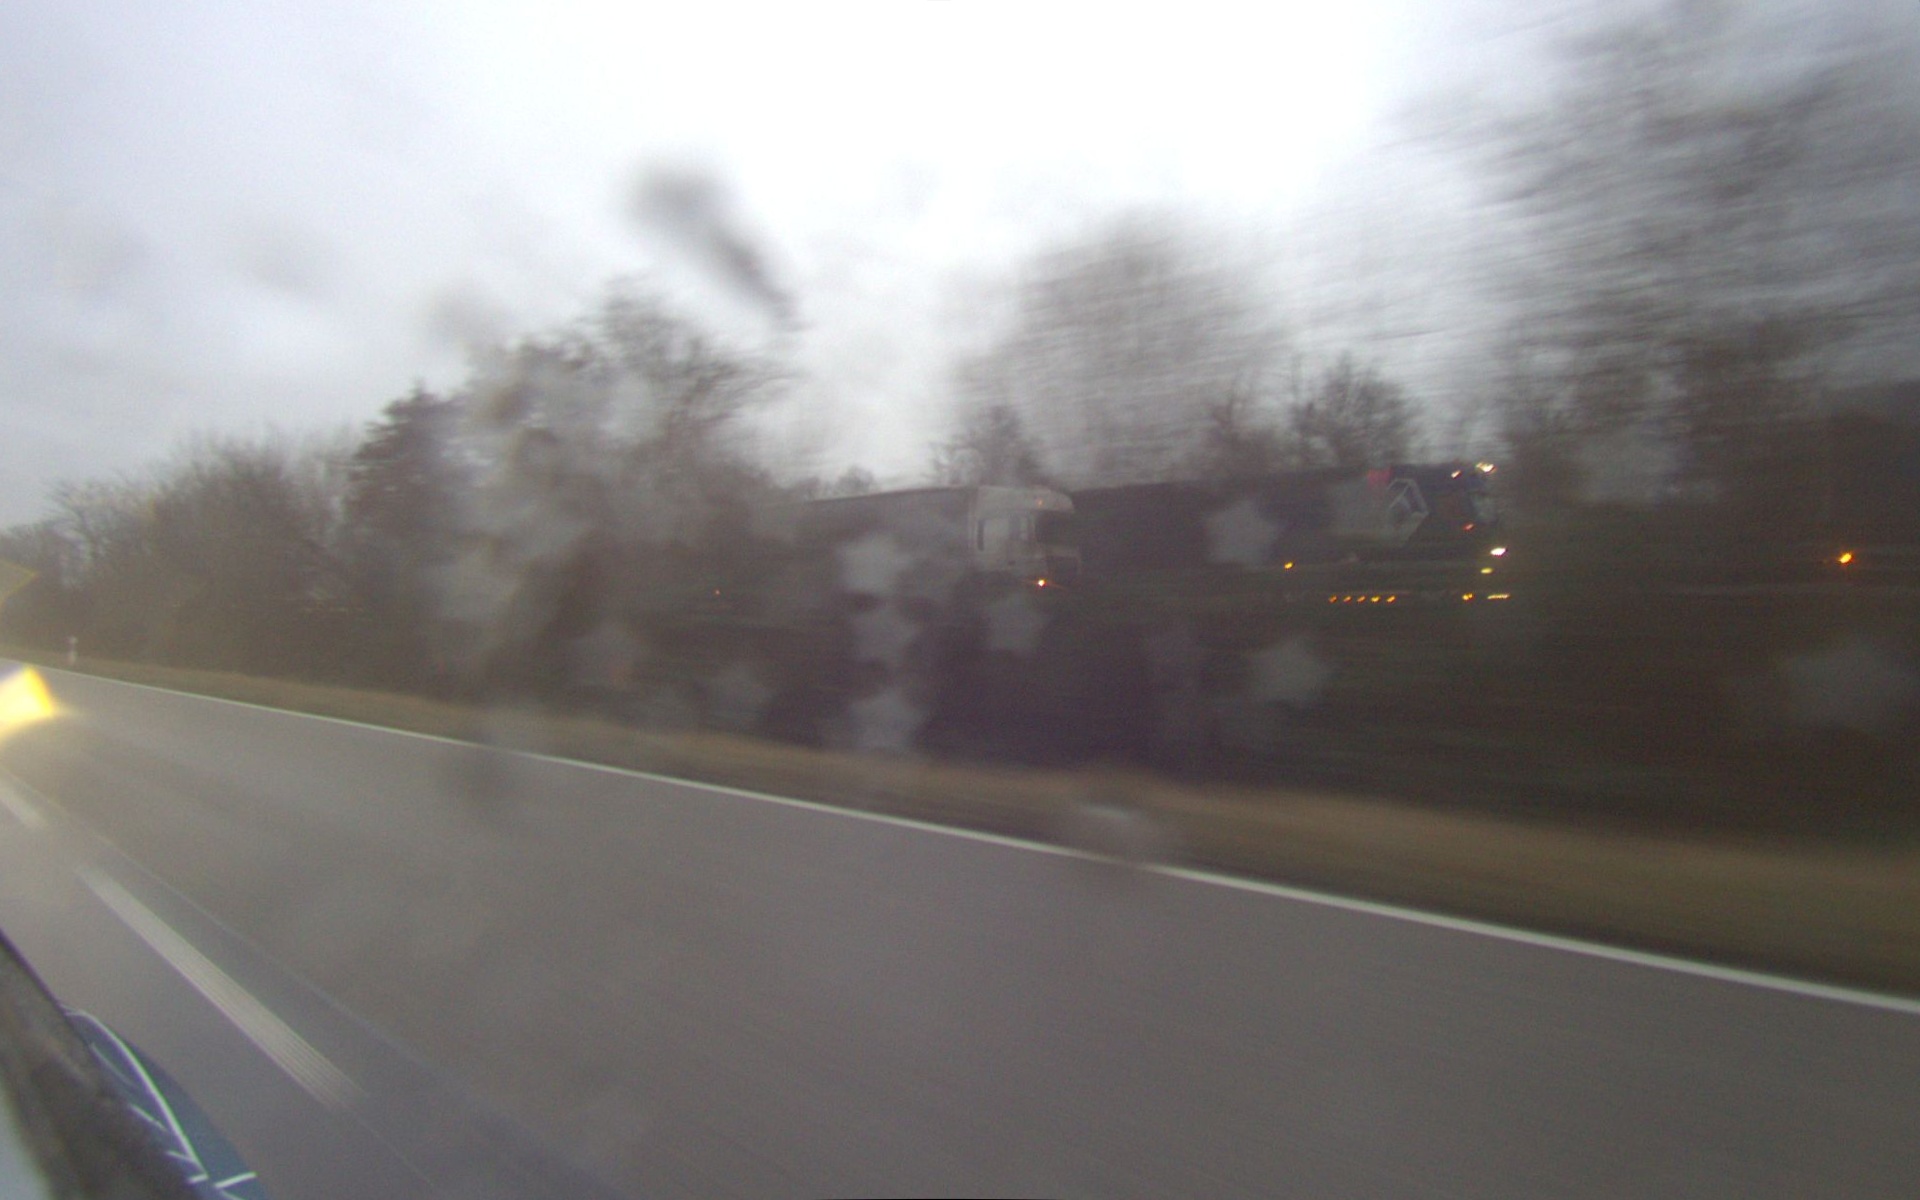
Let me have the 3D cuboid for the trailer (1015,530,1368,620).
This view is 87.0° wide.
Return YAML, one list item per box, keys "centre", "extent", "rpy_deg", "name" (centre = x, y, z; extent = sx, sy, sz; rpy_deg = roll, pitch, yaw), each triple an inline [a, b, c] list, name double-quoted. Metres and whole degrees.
- centre: [7.071, -0.618, 33.160]
  extent: [11.496, 2.443, 2.482]
  rpy_deg: [-1, -2, 41]
  name: "trailer"

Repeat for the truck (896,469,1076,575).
- centre: [0.771, -2.398, 32.933]
  extent: [5.580, 2.909, 2.424]
  rpy_deg: [-2, -1, 41]
  name: "truck"

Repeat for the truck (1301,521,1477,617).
- centre: [12.131, -0.767, 28.688]
  extent: [3.998, 2.454, 2.503]
  rpy_deg: [-2, -2, 41]
  name: "truck"

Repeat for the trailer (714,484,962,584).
- centre: [-4.887, -2.244, 37.857]
  extent: [11.079, 2.913, 2.410]
  rpy_deg: [-2, -1, 41]
  name: "trailer"

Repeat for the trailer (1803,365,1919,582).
- centre: [20.761, -2.329, 15.981]
  extent: [11.379, 3.661, 2.968]
  rpy_deg: [-2, -1, 41]
  name: "trailer"
